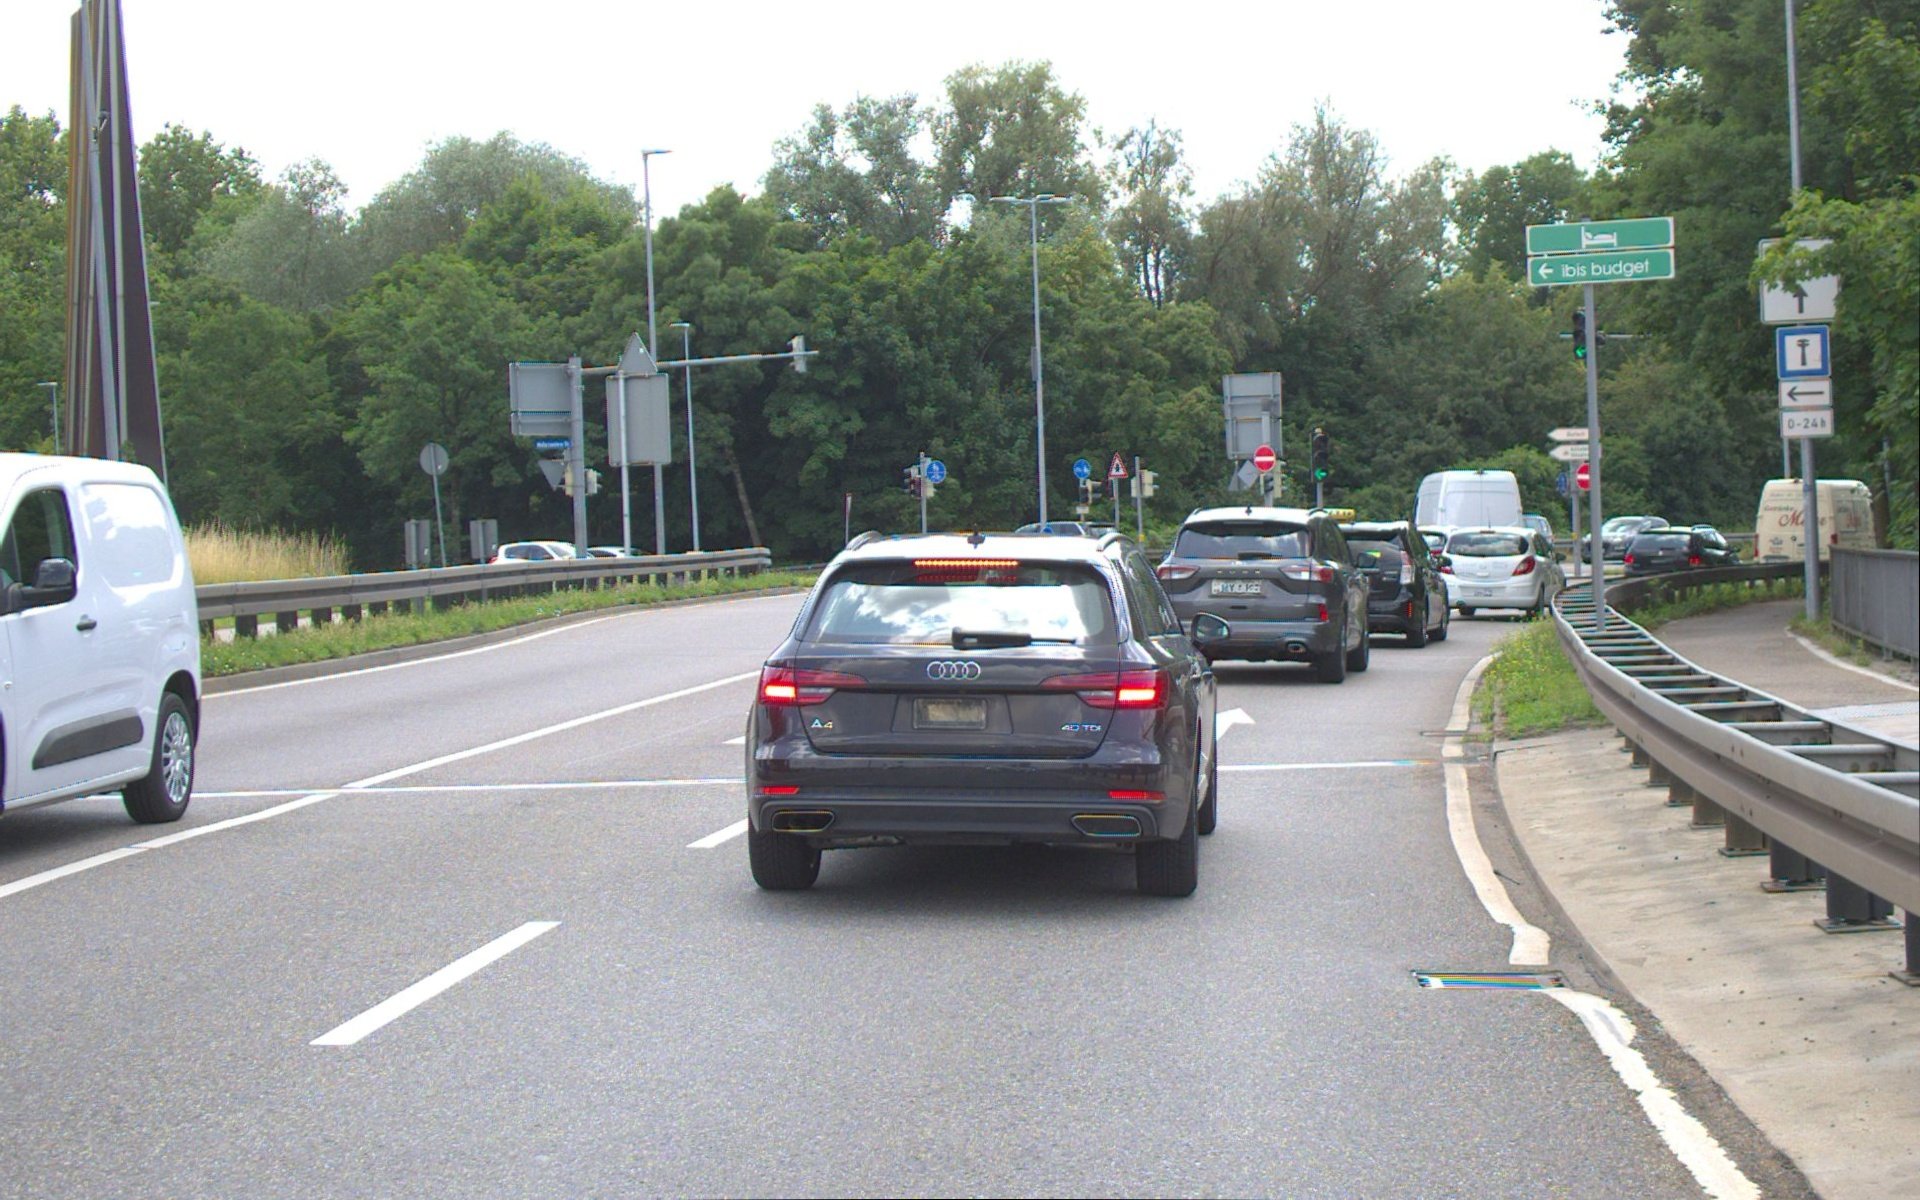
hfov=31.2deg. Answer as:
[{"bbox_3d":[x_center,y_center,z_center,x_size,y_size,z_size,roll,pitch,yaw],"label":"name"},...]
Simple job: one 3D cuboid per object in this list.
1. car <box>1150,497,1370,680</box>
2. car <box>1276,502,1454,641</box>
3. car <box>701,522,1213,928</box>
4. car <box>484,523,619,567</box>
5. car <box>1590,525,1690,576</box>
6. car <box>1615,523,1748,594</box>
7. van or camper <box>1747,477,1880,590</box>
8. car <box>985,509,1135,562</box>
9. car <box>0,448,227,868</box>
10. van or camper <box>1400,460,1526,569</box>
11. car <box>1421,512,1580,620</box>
[{"bbox_3d":[2.961,-0.157,33.296,1.822,1.646,3.854,1,2,9],"label":"car"},{"bbox_3d":[5.101,-0.391,42.964,1.735,1.646,3.853,0,1,14],"label":"car"},{"bbox_3d":[0.137,0.409,14.777,1.828,1.486,4.206,0,1,5],"label":"car"},{"bbox_3d":[-10.959,-1.481,92.203,3.587,1.113,1.590,2,2,41],"label":"car"},{"bbox_3d":[22.288,-1.614,112.654,1.997,1.617,3.993,2,1,30],"label":"car"},{"bbox_3d":[14.539,-0.846,69.151,1.686,1.393,3.673,0,1,28],"label":"car"},{"bbox_3d":[20.270,-1.604,81.534,1.997,2.581,4.083,2,2,29],"label":"van or camper"},{"bbox_3d":[2.784,-1.800,95.650,3.804,1.367,1.670,1,3,23],"label":"car"},{"bbox_3d":[-4.814,0.206,15.518,1.813,1.748,4.305,1,1,4],"label":"car"},{"bbox_3d":[11.244,-1.900,77.217,2.273,2.332,5.240,1,1,3],"label":"van or camper"},{"bbox_3d":[8.629,-0.567,54.663,1.735,1.646,3.852,1,2,21],"label":"car"}]
